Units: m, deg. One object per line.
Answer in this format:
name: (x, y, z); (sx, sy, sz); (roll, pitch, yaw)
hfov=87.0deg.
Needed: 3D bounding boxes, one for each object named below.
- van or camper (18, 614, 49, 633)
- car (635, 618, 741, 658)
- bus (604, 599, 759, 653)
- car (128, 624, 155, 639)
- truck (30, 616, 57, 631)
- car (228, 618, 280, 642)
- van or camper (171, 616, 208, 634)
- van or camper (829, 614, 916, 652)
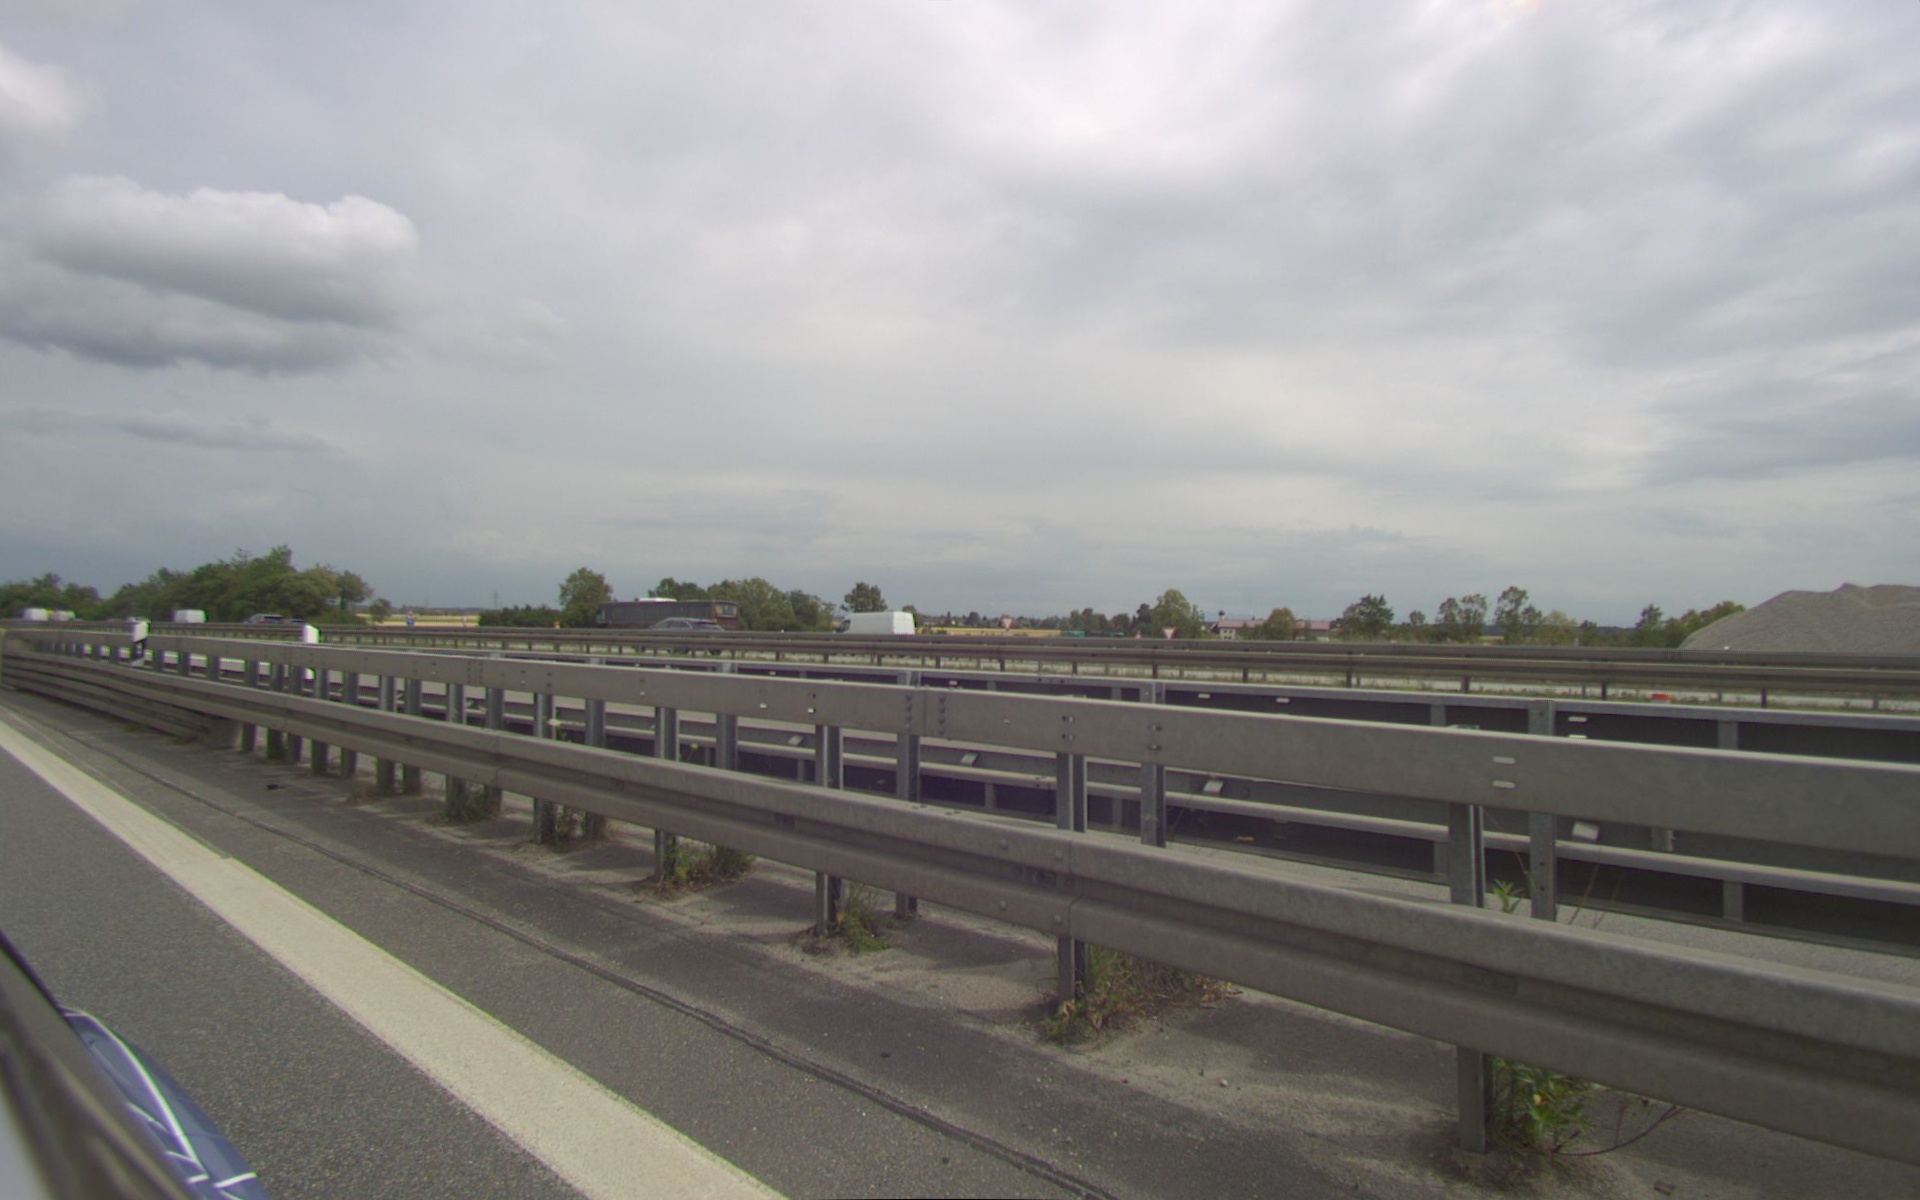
van or camper: (-132.216, 3.310, 144.460); (6.896, 2.639, 2.166); (-1, -2, 38)
car: (-10.729, 1.469, 39.851); (4.135, 1.480, 1.974); (-1, -1, 38)
bus: (-19.377, 1.745, 69.758); (12.972, 3.469, 3.184); (-1, -1, 38)
car: (-86.308, 3.313, 106.729); (3.998, 1.475, 1.507); (-1, -1, 41)
truck: (-168.647, 4.296, 186.213); (8.781, 2.795, 2.875); (-1, -2, 43)
car: (-49.845, 2.091, 71.443); (3.994, 1.674, 1.975); (-1, -1, 38)
van or camper: (-95.721, 3.156, 125.728); (5.801, 2.188, 2.166); (-1, -2, 38)
van or camper: (-4.996, 1.831, 57.226); (4.877, 2.029, 1.974); (-1, -1, 38)
